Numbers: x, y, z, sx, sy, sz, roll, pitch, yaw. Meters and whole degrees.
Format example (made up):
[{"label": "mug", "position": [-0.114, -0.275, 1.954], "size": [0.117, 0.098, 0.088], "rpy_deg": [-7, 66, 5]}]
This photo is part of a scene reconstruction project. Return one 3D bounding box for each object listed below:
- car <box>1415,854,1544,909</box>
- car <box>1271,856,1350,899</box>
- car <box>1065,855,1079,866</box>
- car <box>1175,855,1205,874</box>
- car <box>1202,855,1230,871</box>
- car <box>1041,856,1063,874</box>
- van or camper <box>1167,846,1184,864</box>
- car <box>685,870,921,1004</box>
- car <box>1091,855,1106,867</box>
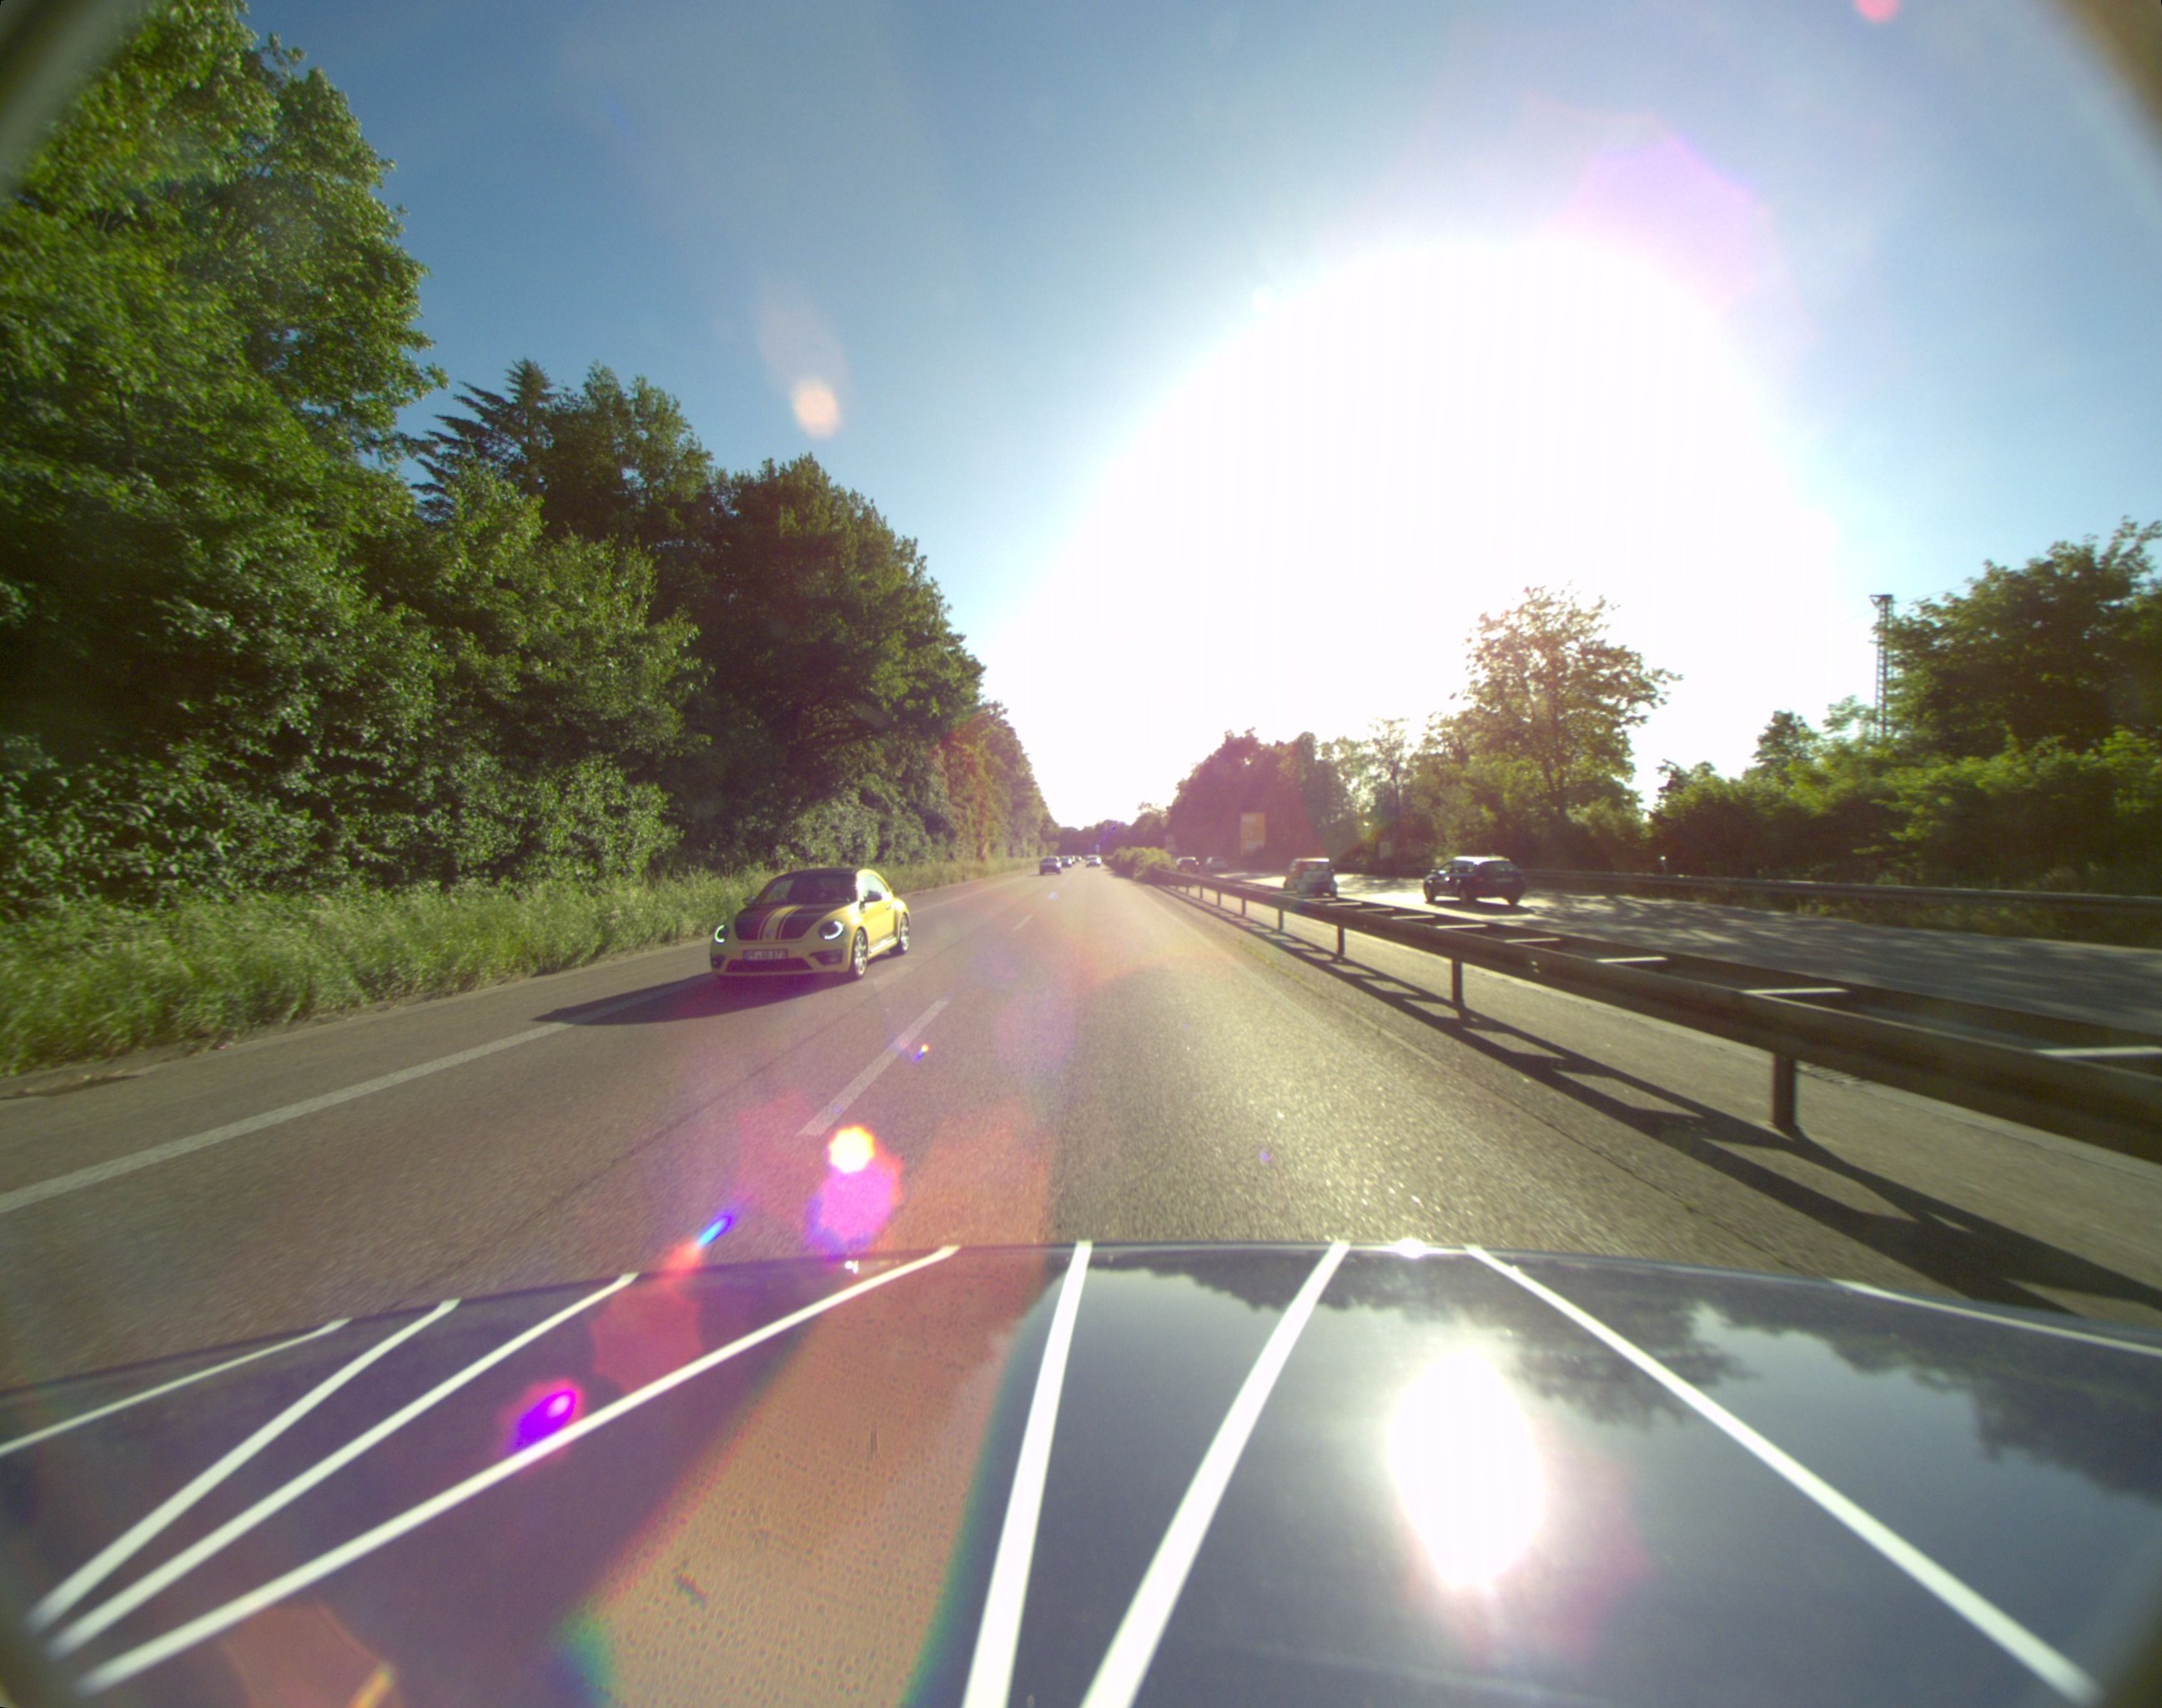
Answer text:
[{"label": "car", "position": [12.603, 0.819, 24.413], "size": [1.841, 1.531, 4.430], "rpy_deg": [-2, 0, 1]}, {"label": "car", "position": [9.105, 0.892, 30.569], "size": [1.881, 1.531, 4.464], "rpy_deg": [-1, 0, 1]}, {"label": "car", "position": [-1.217, 0.898, 103.164], "size": [1.801, 1.453, 4.355], "rpy_deg": [0, 0, 0]}, {"label": "car", "position": [9.366, 0.899, 65.675], "size": [1.965, 1.531, 4.464], "rpy_deg": [-2, 0, 1]}, {"label": "car", "position": [13.123, 0.842, 74.056], "size": [1.965, 1.441, 4.326], "rpy_deg": [-2, 0, 1]}, {"label": "car", "position": [-2.526, 0.942, 66.551], "size": [1.801, 1.453, 4.355], "rpy_deg": [0, 0, 0]}, {"label": "van or camper", "position": [14.225, 0.117, 114.355], "size": [1.998, 2.706, 5.253], "rpy_deg": [-1, 0, 1]}, {"label": "car", "position": [-3.788, 1.040, 11.273], "size": [1.884, 1.453, 4.355], "rpy_deg": [-2, 0, 0]}, {"label": "car", "position": [2.302, 0.897, 100.964], "size": [1.904, 1.453, 4.355], "rpy_deg": [0, 0, 0]}]
